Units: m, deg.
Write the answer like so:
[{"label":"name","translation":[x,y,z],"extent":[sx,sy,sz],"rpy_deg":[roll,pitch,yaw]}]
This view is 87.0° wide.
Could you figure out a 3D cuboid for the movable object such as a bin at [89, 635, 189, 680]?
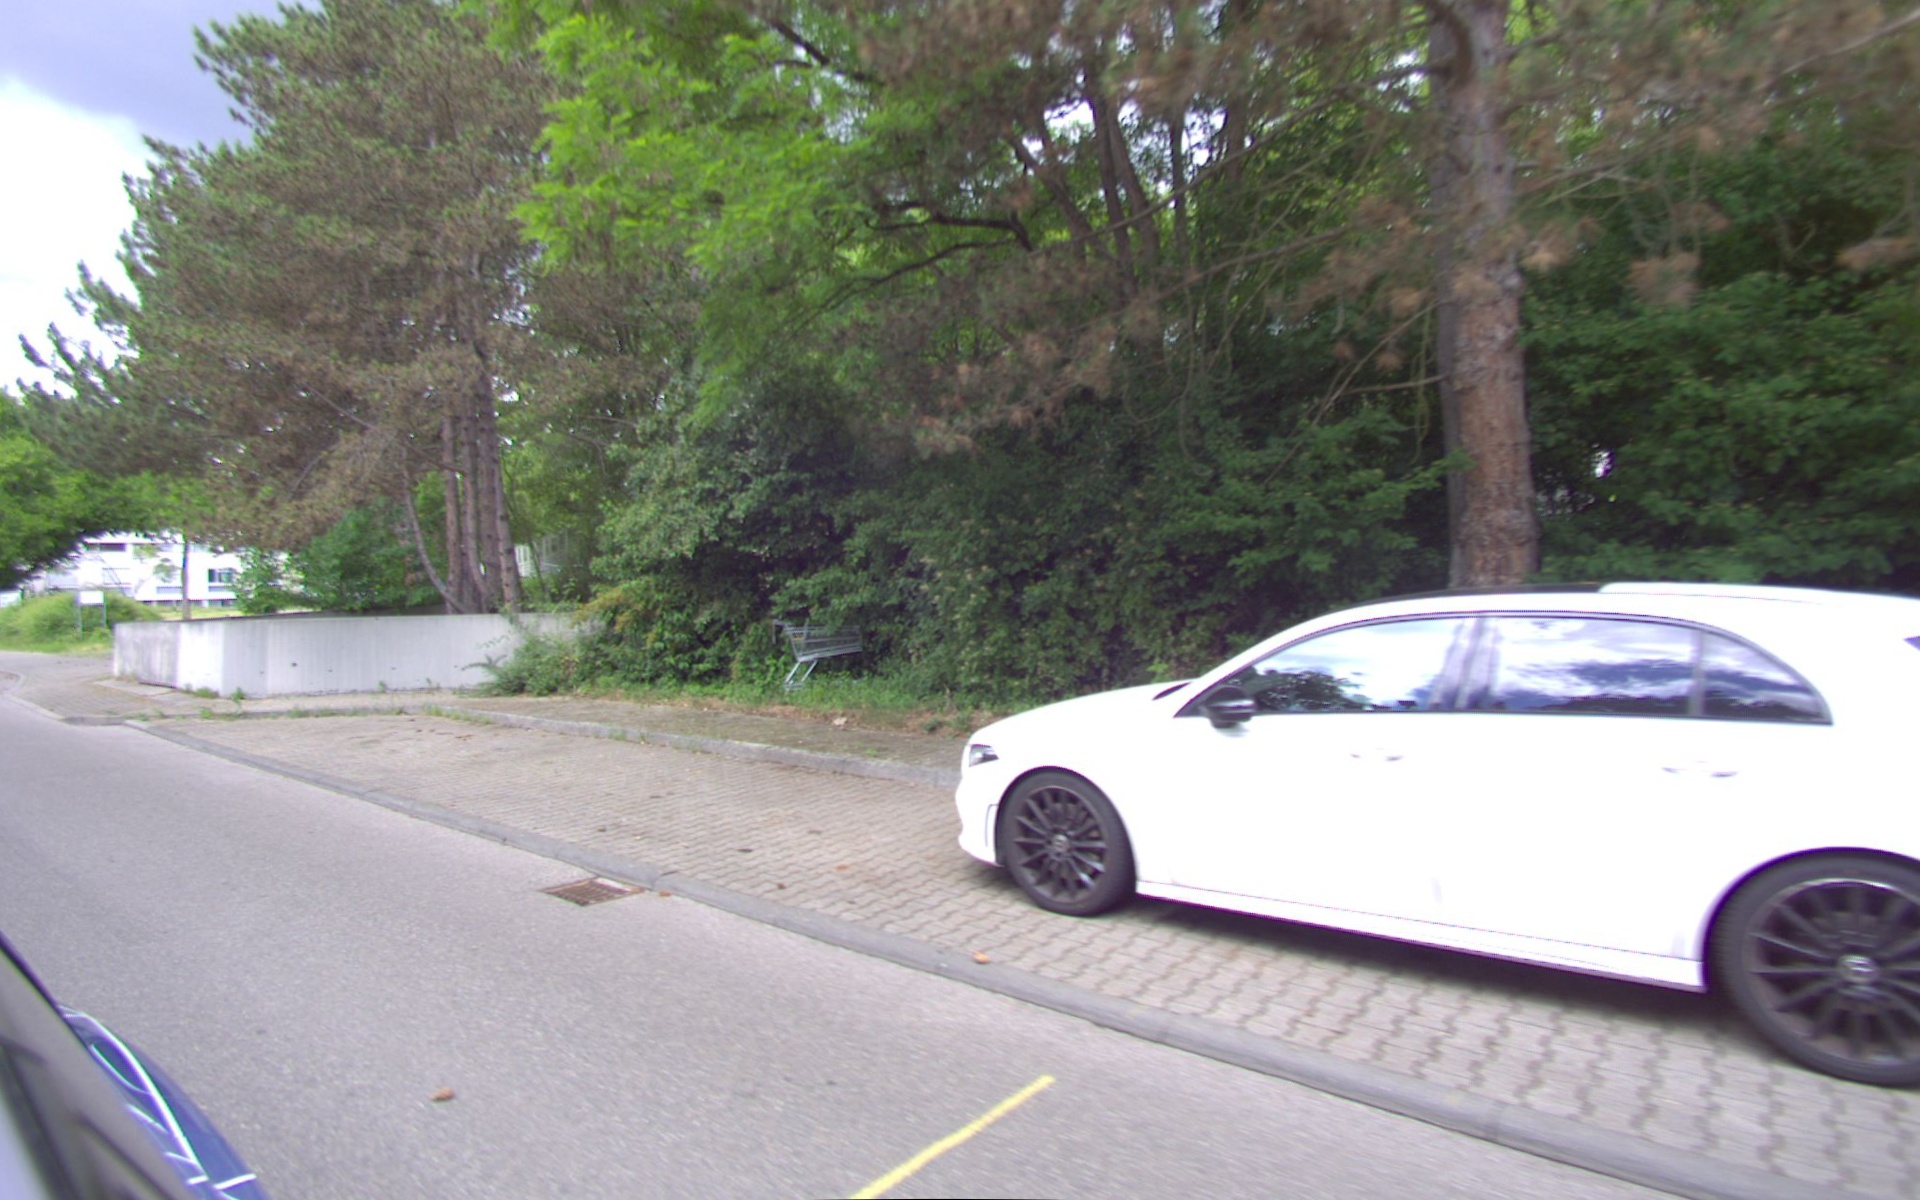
[{"label":"movable object such as a bin","translation":[-16.347,1.130,20.186],"extent":[1.035,0.766,1.147],"rpy_deg":[-1,2,1]}]

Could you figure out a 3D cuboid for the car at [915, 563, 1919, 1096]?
[{"label":"car","translation":[2.057,0.625,4.270],"extent":[4.366,1.413,1.788],"rpy_deg":[-1,1,39]}]
